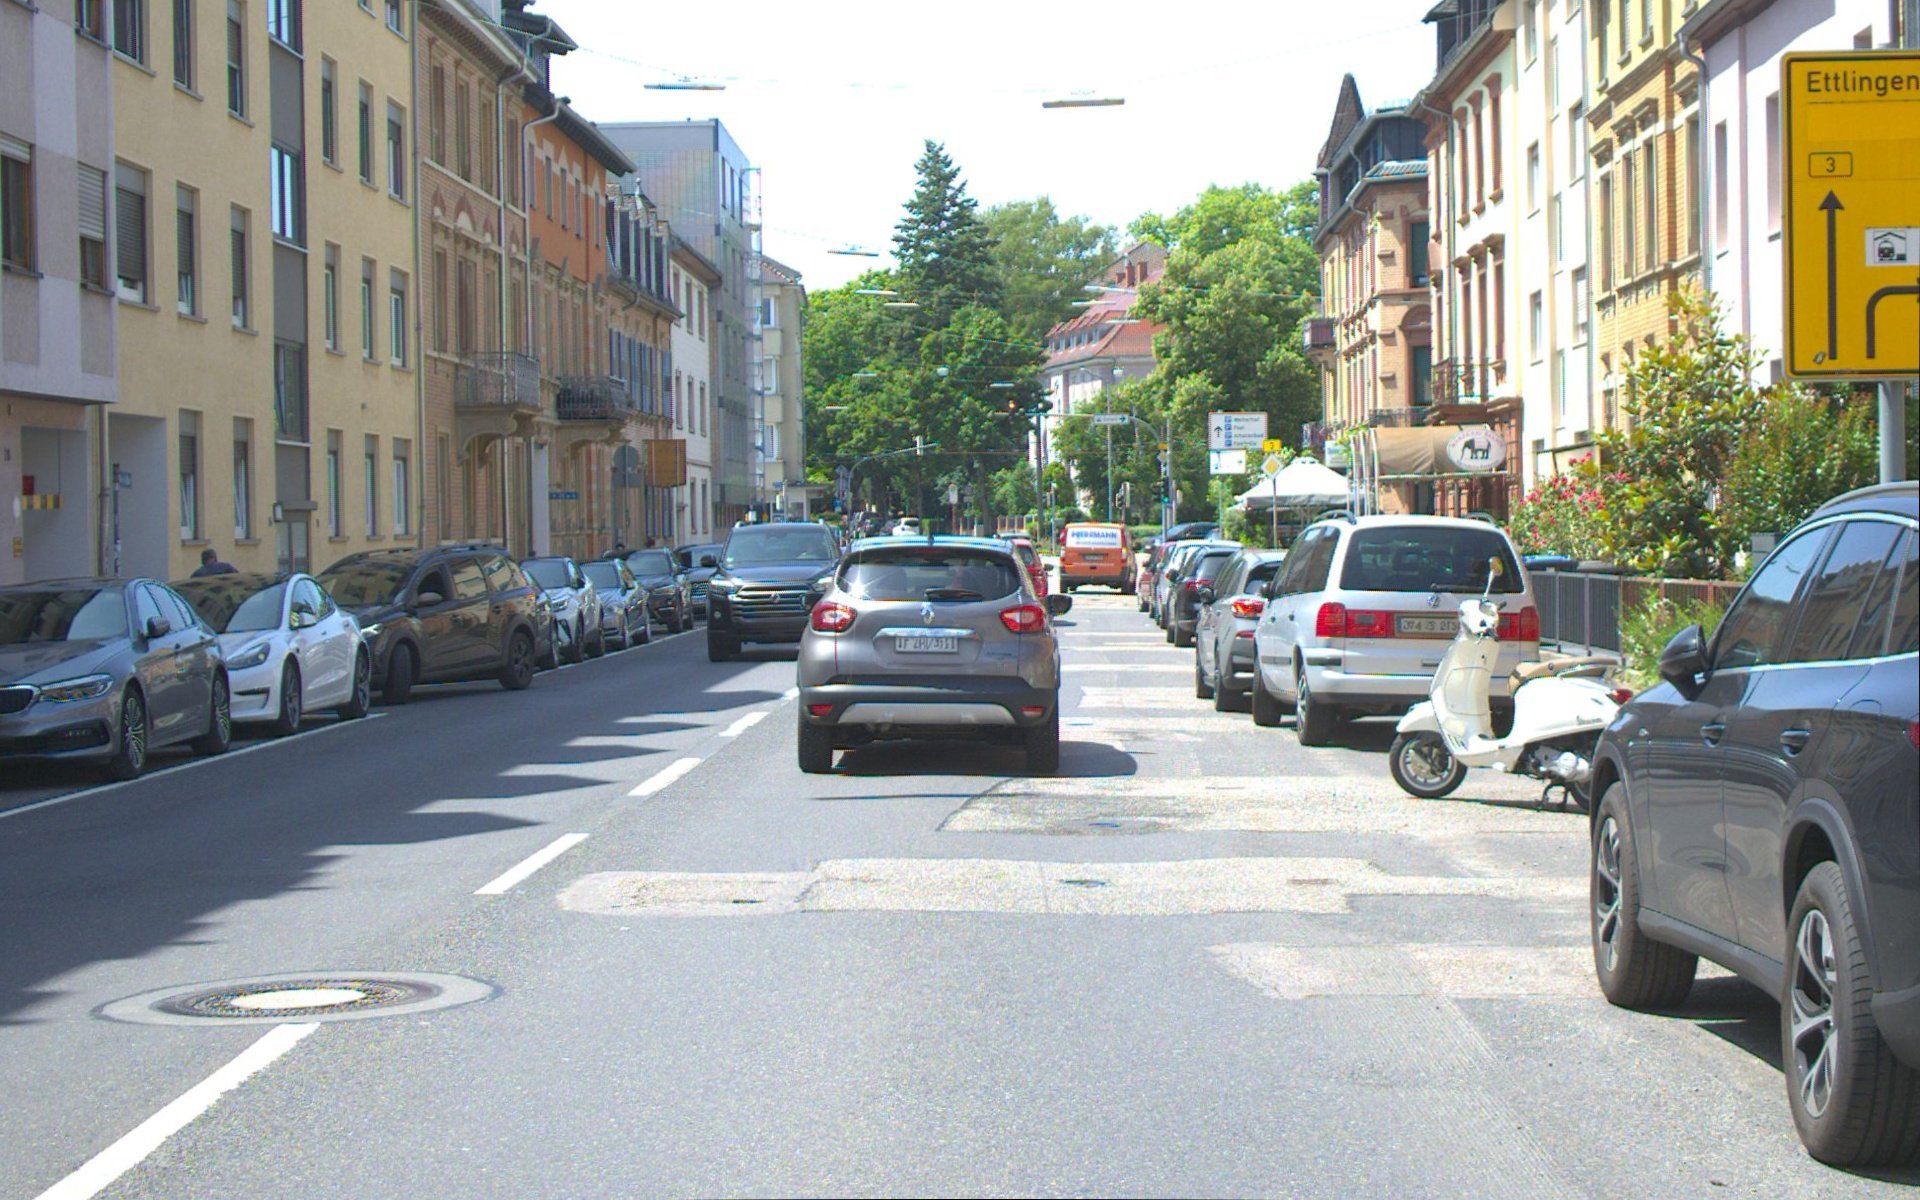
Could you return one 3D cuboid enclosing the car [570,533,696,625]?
[{"bbox_3d":[-6.137,-0.407,64.988,1.904,1.614,4.302,-2,1,0],"label":"car"}]

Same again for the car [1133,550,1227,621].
[{"bbox_3d":[4.575,-0.323,71.860,1.611,1.438,3.437,1,1,-2],"label":"car"}]

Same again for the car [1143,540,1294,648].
[{"bbox_3d":[3.758,-0.129,50.657,1.860,1.460,4.618,2,1,0],"label":"car"}]

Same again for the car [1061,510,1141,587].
[{"bbox_3d":[3.844,-1.397,93.041,1.994,2.007,4.465,-1,1,5],"label":"car"}]

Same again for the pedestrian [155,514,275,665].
[{"bbox_3d":[-8.717,-0.131,40.273,1.151,1.744,0.969,0,1,4],"label":"pedestrian"}]

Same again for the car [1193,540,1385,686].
[{"bbox_3d":[3.607,0.097,38.385,1.695,1.482,4.618,2,1,0],"label":"car"}]

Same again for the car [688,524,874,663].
[{"bbox_3d":[-2.389,-0.127,47.237,1.994,1.786,5.148,-1,1,3],"label":"car"}]

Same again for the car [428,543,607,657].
[{"bbox_3d":[-6.275,-0.028,49.197,1.905,1.505,4.302,-2,1,1],"label":"car"}]

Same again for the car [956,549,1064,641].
[{"bbox_3d":[0.888,-0.114,63.494,1.812,1.615,4.442,-1,1,-1],"label":"car"}]

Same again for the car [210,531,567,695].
[{"bbox_3d":[-6.171,0.095,37.704,1.906,1.632,4.554,-2,1,18],"label":"car"}]

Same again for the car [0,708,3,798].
[{"bbox_3d":[-6.980,0.596,19.644,1.839,1.418,4.503,-2,0,-2],"label":"car"}]

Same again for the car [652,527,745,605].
[{"bbox_3d":[-5.766,-0.764,76.195,1.904,1.614,4.303,-2,1,-3],"label":"car"}]

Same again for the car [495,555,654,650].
[{"bbox_3d":[-6.164,0.006,55.395,1.905,1.396,4.755,-2,1,1],"label":"car"}]

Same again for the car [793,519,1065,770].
[{"bbox_3d":[-0.178,0.248,24.114,1.744,1.611,4.000,0,1,1],"label":"car"}]

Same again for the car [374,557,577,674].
[{"bbox_3d":[-6.179,0.166,44.284,1.905,1.375,4.061,-2,1,2],"label":"car"}]

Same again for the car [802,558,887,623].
[{"bbox_3d":[-2.518,-0.224,75.501,1.816,1.384,4.000,0,1,-2],"label":"car"}]

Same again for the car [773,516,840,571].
[{"bbox_3d":[-5.176,-1.896,116.532,1.905,1.815,4.302,0,1,2],"label":"car"}]

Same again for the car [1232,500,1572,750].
[{"bbox_3d":[3.370,0.140,27.099,1.860,1.742,4.619,2,1,-2],"label":"car"}]

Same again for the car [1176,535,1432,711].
[{"bbox_3d":[3.162,0.165,32.360,1.860,1.482,4.310,2,1,-1],"label":"car"}]

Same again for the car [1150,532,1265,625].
[{"bbox_3d":[4.401,-0.403,61.520,1.860,1.548,4.000,2,1,2],"label":"car"}]

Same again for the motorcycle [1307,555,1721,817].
[{"bbox_3d":[3.107,0.452,19.349,1.994,1.381,1.110,1,0,39],"label":"motorcycle"}]

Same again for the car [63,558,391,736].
[{"bbox_3d":[-6.578,0.377,31.352,1.840,1.418,4.558,-3,0,2],"label":"car"}]

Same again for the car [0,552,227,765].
[{"bbox_3d":[-6.830,0.401,25.574,1.839,1.418,4.646,-2,0,-2],"label":"car"}]

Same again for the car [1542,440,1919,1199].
[{"bbox_3d":[2.992,0.459,9.533,1.993,1.656,4.625,0,1,0],"label":"car"}]
